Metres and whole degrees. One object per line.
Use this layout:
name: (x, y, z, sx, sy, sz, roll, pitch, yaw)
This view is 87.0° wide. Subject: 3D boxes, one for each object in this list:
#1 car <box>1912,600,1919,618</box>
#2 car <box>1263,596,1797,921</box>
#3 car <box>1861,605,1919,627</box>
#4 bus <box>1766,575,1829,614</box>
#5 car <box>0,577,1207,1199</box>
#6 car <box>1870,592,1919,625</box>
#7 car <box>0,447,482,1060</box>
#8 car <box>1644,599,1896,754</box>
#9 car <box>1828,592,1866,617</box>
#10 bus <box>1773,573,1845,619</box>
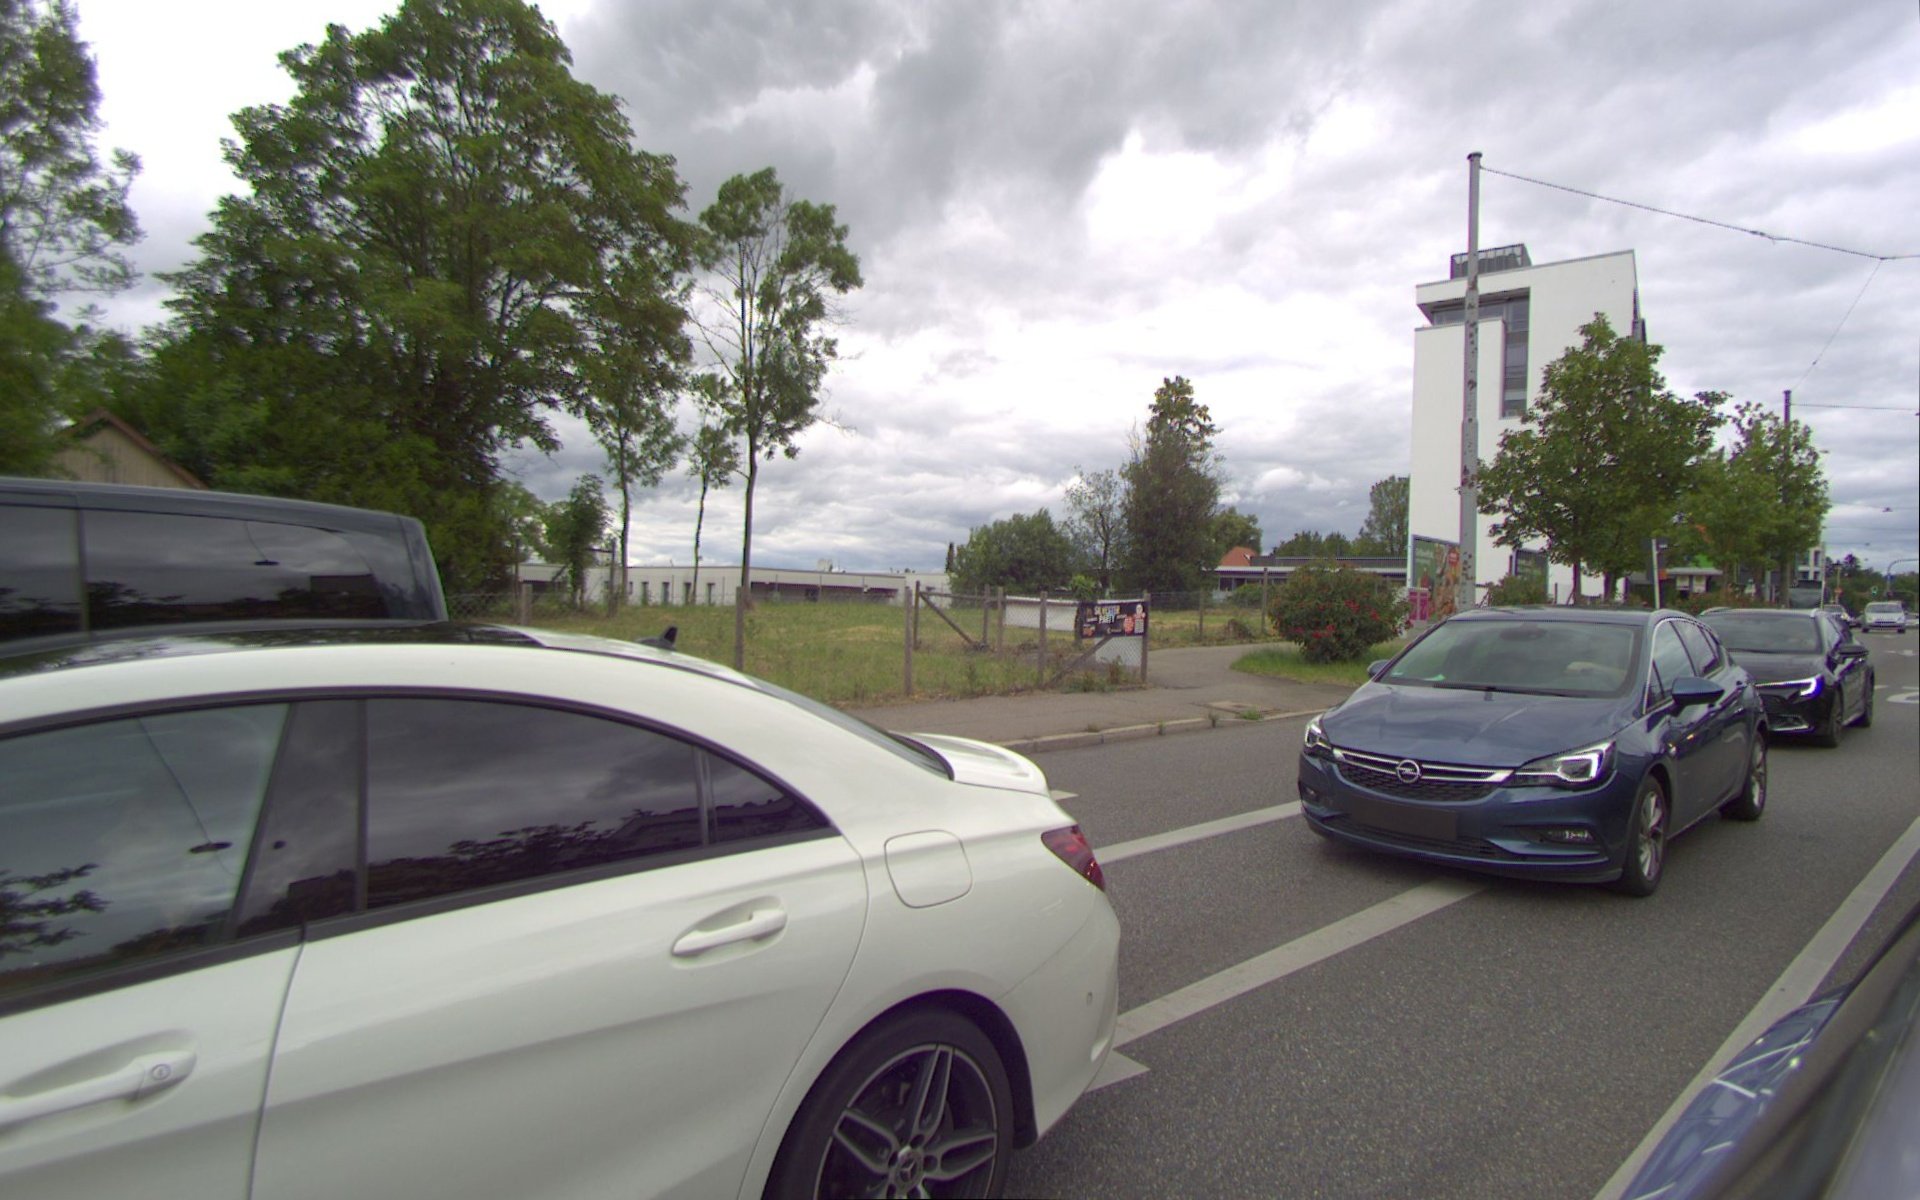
car: (104.093, 0.999, 109.107, 1.992, 1.844, 3.940, 2, 2, 42)
car: (3.808, 0.693, 6.472, 3.931, 1.428, 1.825, 0, 0, -42)
car: (83.746, 1.431, 90.833, 3.925, 1.844, 2.000, 1, 1, 1)
bus: (61.424, -0.435, 74.459, 2.952, 2.664, 12.751, 0, 1, 37)
car: (-1.540, 0.696, 1.805, 4.300, 1.451, 1.652, 0, 1, -41)
car: (49.300, 0.440, 53.412, 1.845, 1.637, 3.725, -1, -1, 42)
car: (-4.254, 0.474, 3.209, 4.627, 1.863, 1.952, 0, -1, -41)
car: (9.391, 0.733, 11.629, 3.854, 1.475, 1.663, 0, 0, -42)
car: (69.237, 0.370, 79.034, 1.841, 1.910, 4.082, -1, -1, 36)
bus: (53.957, -0.302, 64.560, 2.952, 2.664, 11.986, 0, 1, 37)
